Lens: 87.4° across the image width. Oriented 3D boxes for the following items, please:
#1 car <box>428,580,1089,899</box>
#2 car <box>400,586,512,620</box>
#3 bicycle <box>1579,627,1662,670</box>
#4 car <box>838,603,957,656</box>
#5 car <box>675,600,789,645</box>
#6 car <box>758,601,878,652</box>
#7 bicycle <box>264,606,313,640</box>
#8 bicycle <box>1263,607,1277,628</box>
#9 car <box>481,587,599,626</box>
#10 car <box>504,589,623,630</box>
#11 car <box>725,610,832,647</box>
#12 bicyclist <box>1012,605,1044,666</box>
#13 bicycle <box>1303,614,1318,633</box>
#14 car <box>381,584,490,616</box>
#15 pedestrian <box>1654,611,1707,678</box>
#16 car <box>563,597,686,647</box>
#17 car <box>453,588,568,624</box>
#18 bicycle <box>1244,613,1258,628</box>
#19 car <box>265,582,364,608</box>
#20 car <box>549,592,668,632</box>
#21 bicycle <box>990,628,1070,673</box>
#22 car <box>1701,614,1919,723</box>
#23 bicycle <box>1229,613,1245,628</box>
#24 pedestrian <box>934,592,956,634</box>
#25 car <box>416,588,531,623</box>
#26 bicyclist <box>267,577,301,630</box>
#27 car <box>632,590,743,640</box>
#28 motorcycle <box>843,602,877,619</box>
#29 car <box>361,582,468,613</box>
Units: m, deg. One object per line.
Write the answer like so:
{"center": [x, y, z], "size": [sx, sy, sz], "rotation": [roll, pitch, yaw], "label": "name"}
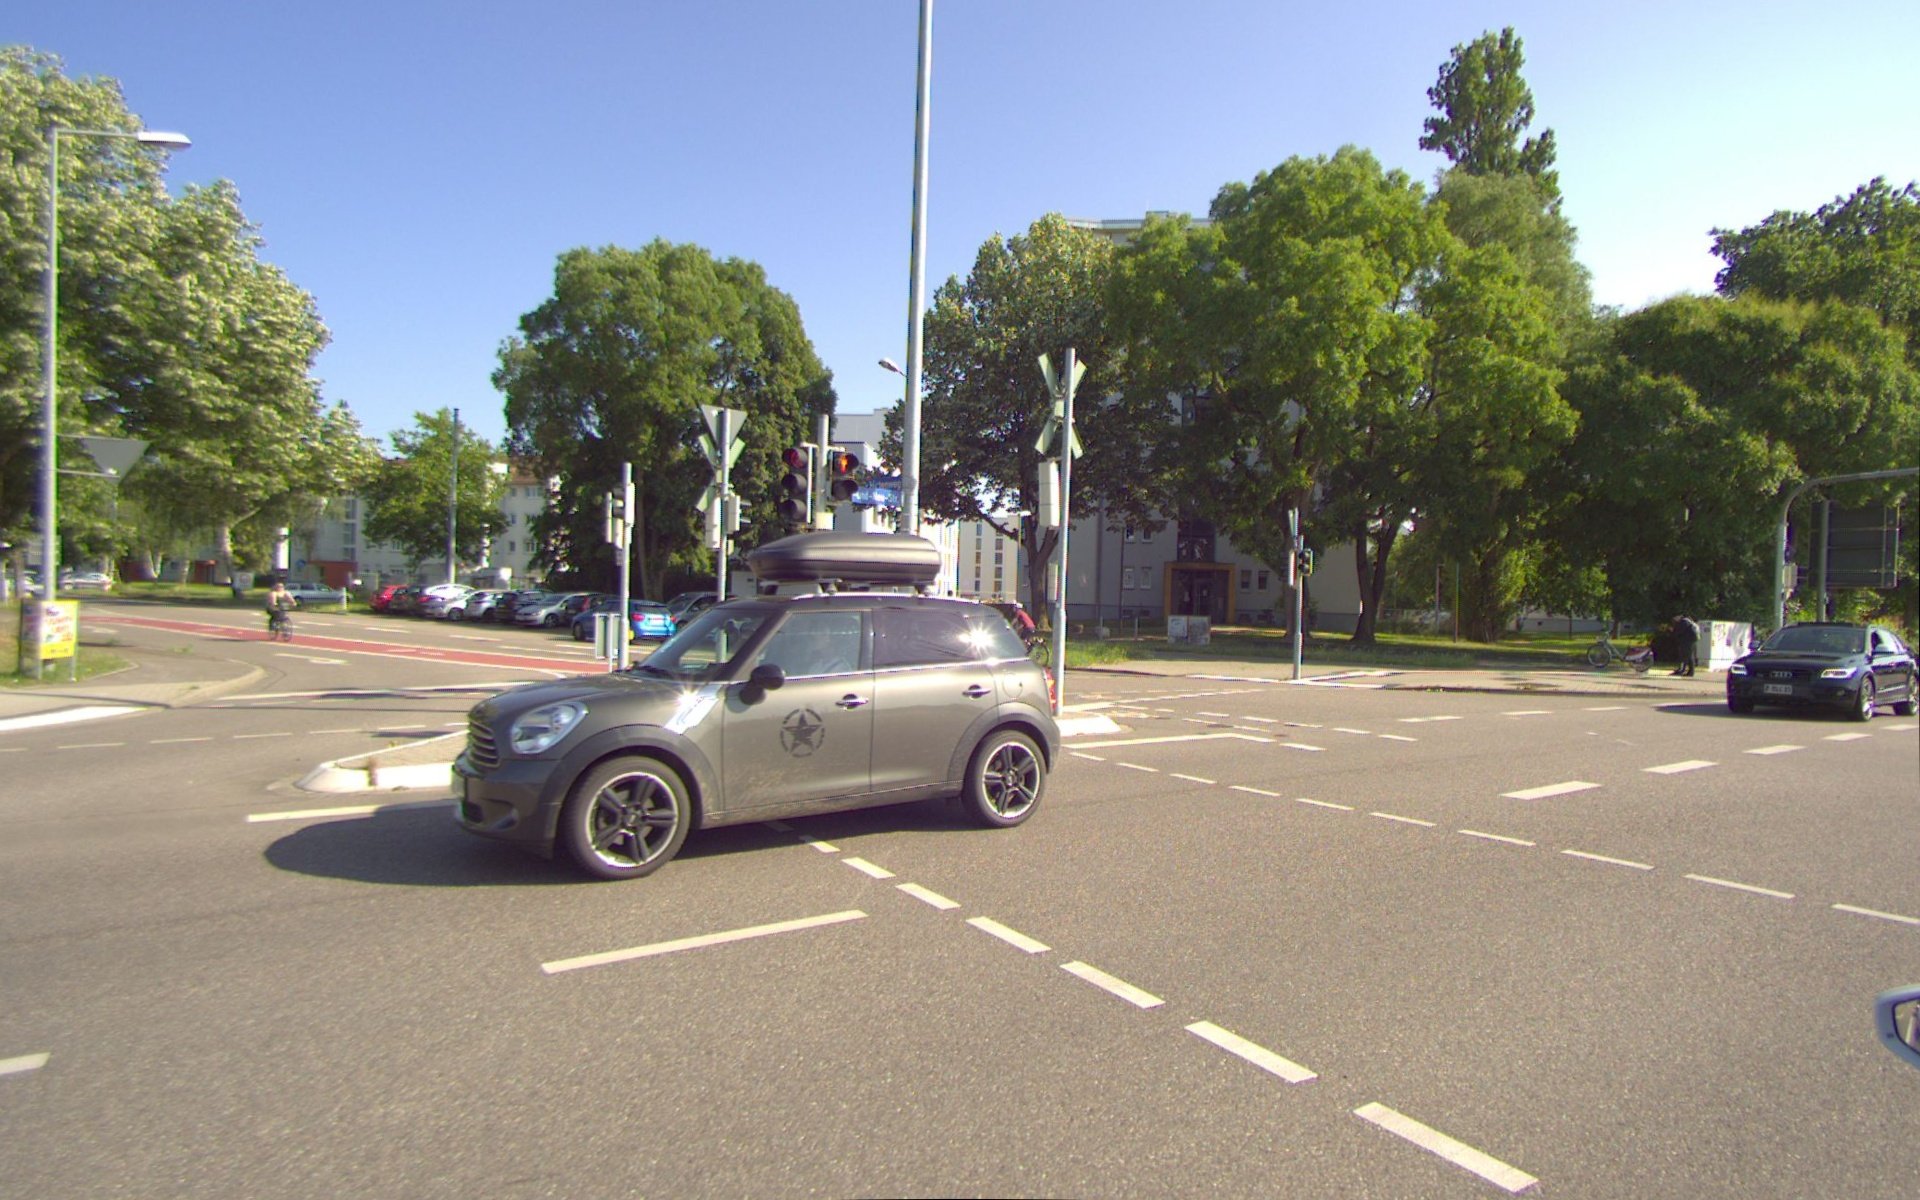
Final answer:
{"center": [-1.220, 0.716, 6.719], "size": [3.959, 1.540, 1.777], "rotation": [2, 0, -35], "label": "car"}
{"center": [-25.337, 0.104, 50.702], "size": [1.755, 1.497, 4.797], "rotation": [2, 3, 35], "label": "car"}
{"center": [19.070, 1.391, 29.057], "size": [0.626, 1.134, 1.897], "rotation": [1, 0, -33], "label": "bicycle"}
{"center": [-2.018, 0.934, 33.358], "size": [1.757, 1.459, 3.982], "rotation": [2, 3, 38], "label": "car"}
{"center": [-8.554, 0.832, 37.944], "size": [1.757, 1.541, 3.985], "rotation": [2, 0, 37], "label": "car"}
{"center": [-4.890, 0.864, 34.987], "size": [1.758, 1.435, 3.980], "rotation": [2, 4, 40], "label": "car"}
{"center": [-19.857, 0.664, 29.701], "size": [1.780, 0.915, 0.652], "rotation": [2, 1, 37], "label": "bicycle"}
{"center": [16.434, 0.932, 53.294], "size": [0.600, 1.080, 1.918], "rotation": [3, -1, 19], "label": "bicycle"}
{"center": [-19.321, 0.269, 46.426], "size": [1.755, 1.497, 4.797], "rotation": [2, 4, 35], "label": "car"}
{"center": [-17.482, 0.373, 44.530], "size": [1.755, 1.497, 4.698], "rotation": [2, 4, 35], "label": "car"}
{"center": [-6.482, 1.012, 36.220], "size": [1.442, 1.209, 3.771], "rotation": [2, 0, 39], "label": "car"}
{"center": [1.802, 0.931, 26.678], "size": [0.592, 1.581, 0.608], "rotation": [2, 0, 31], "label": "bicyclist"}
{"center": [18.393, 1.209, 52.713], "size": [0.657, 0.932, 2.406], "rotation": [2, 0, 21], "label": "bicycle"}
{"center": [-27.481, -0.028, 52.788], "size": [1.755, 1.497, 4.797], "rotation": [2, 3, 35], "label": "car"}
{"center": [19.749, 1.209, 27.542], "size": [0.920, 1.775, 0.812], "rotation": [1, 1, -29], "label": "pedestrian"}
{"center": [-11.031, 0.703, 32.916], "size": [4.177, 1.433, 1.778], "rotation": [2, 0, 38], "label": "car"}
{"center": [-21.337, 0.230, 47.846], "size": [1.755, 1.497, 4.761], "rotation": [2, 3, 35], "label": "car"}
{"center": [15.612, 1.087, 53.851], "size": [0.497, 0.718, 2.115], "rotation": [2, 1, 21], "label": "bicycle"}
{"center": [-39.324, -0.284, 61.311], "size": [1.758, 1.497, 4.793], "rotation": [2, 0, 39], "label": "car"}
{"center": [-15.311, 0.480, 44.010], "size": [1.755, 1.497, 4.797], "rotation": [2, 3, 35], "label": "car"}
{"center": [1.855, 1.315, 26.631], "size": [2.035, 1.054, 0.620], "rotation": [2, 0, 31], "label": "bicycle"}
{"center": [15.546, 1.164, 18.084], "size": [4.334, 1.681, 1.979], "rotation": [2, 0, -31], "label": "car"}
{"center": [14.956, 1.090, 54.216], "size": [0.573, 0.718, 2.238], "rotation": [2, 1, 21], "label": "bicycle"}
{"center": [-0.631, 0.553, 42.384], "size": [0.694, 1.736, 0.622], "rotation": [1, 1, -22], "label": "pedestrian"}
{"center": [-23.624, 0.215, 48.910], "size": [1.755, 1.497, 4.797], "rotation": [2, 3, 35], "label": "car"}
{"center": [-20.045, 0.098, 29.807], "size": [0.616, 1.544, 0.617], "rotation": [2, 2, 27], "label": "bicyclist"}
{"center": [-10.674, 0.593, 39.586], "size": [1.757, 1.835, 3.985], "rotation": [2, 0, 37], "label": "car"}
{"center": [-6.065, 0.635, 60.822], "size": [2.004, 0.978, 0.526], "rotation": [2, 1, 0], "label": "motorcycle"}
{"center": [-29.274, -0.178, 54.052], "size": [1.755, 1.497, 4.797], "rotation": [2, 3, 35], "label": "car"}
